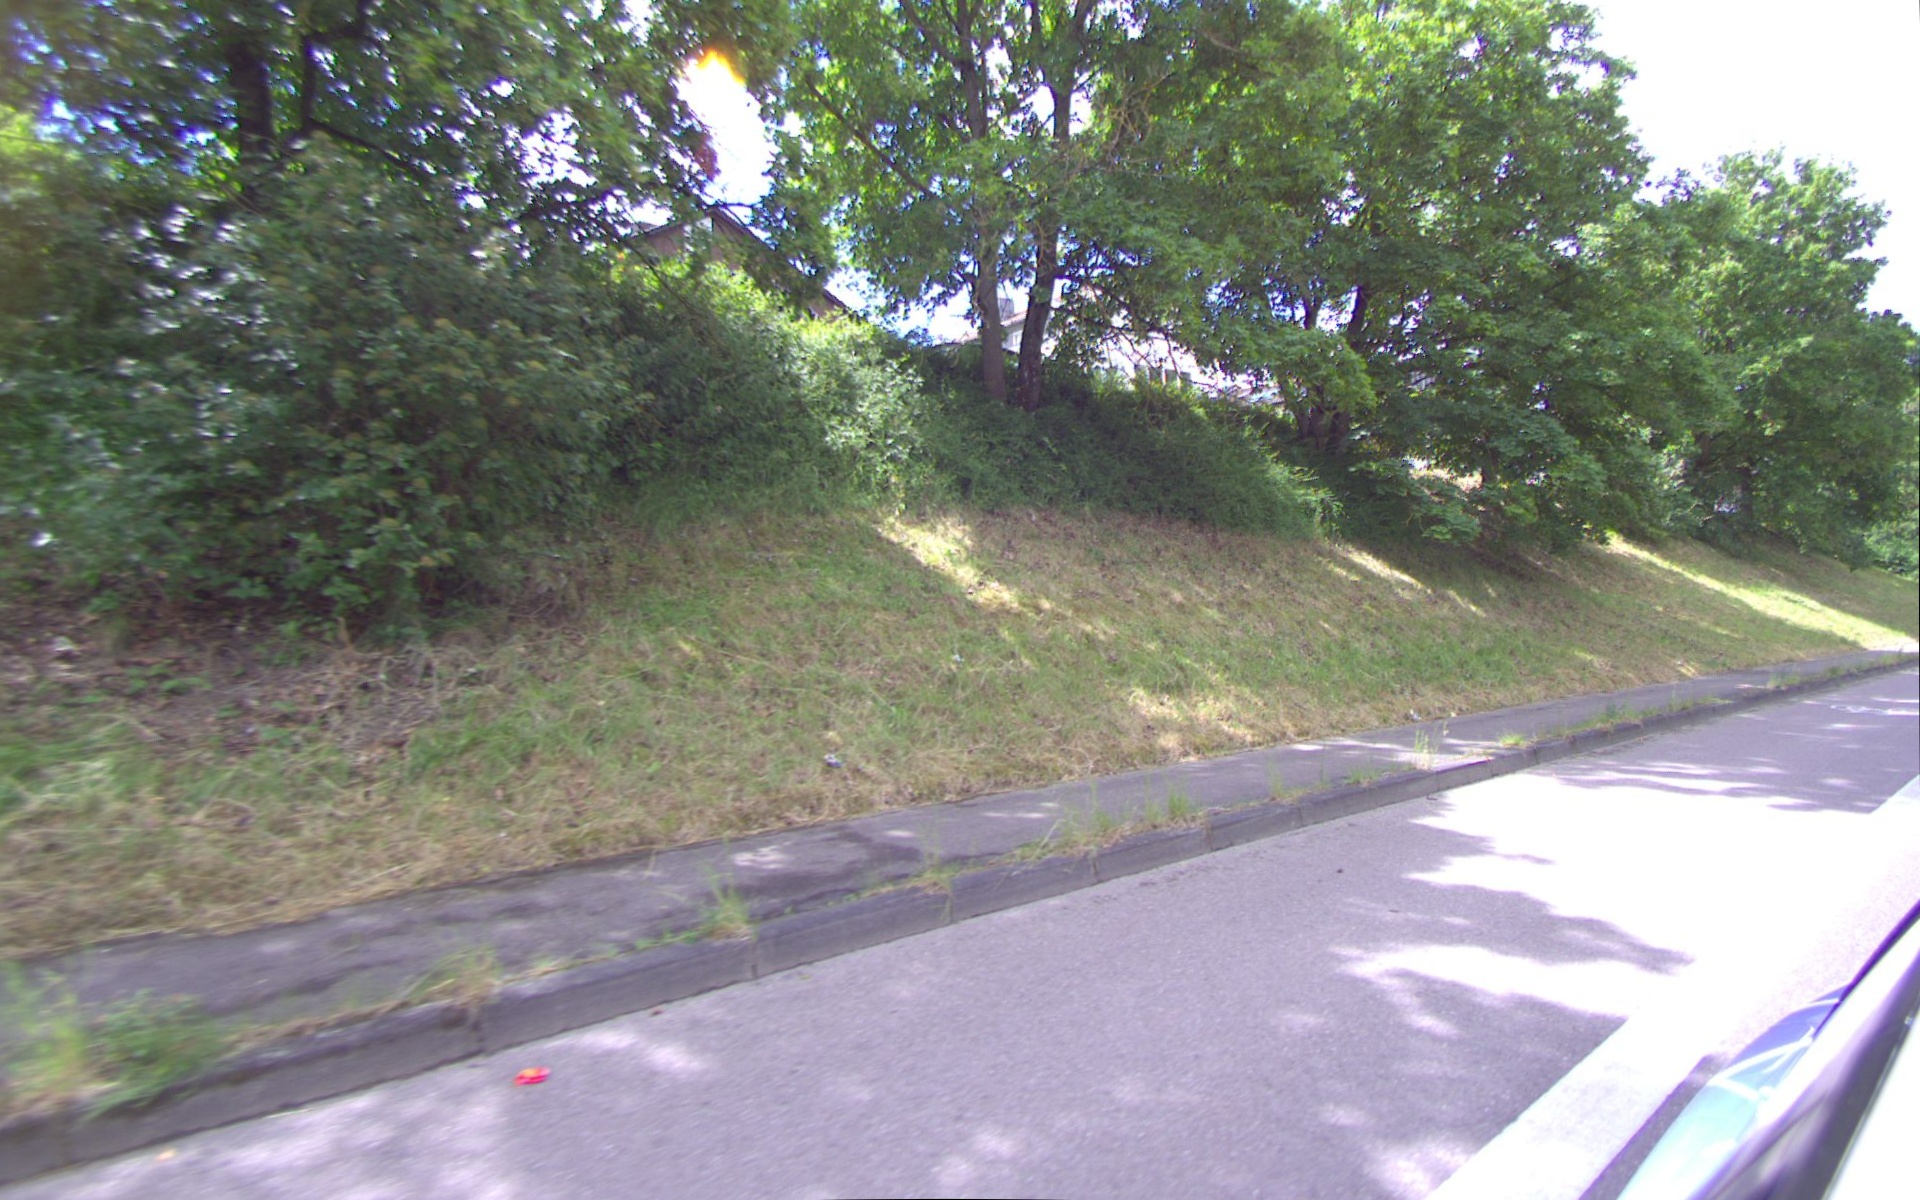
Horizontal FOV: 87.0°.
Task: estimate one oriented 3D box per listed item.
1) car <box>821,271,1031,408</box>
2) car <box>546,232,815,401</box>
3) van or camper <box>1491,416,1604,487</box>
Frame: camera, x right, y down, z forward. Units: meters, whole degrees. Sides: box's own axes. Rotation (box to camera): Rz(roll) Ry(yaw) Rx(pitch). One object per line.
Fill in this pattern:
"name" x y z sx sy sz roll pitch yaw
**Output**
"car" -0.604 -4.966 19.816 3.972 1.708 1.647 0 0 -40
"car" -4.511 -4.507 16.650 3.972 1.708 1.647 0 0 -40
"van or camper" 24.268 -6.022 41.708 6.055 2.096 2.220 0 0 -41
